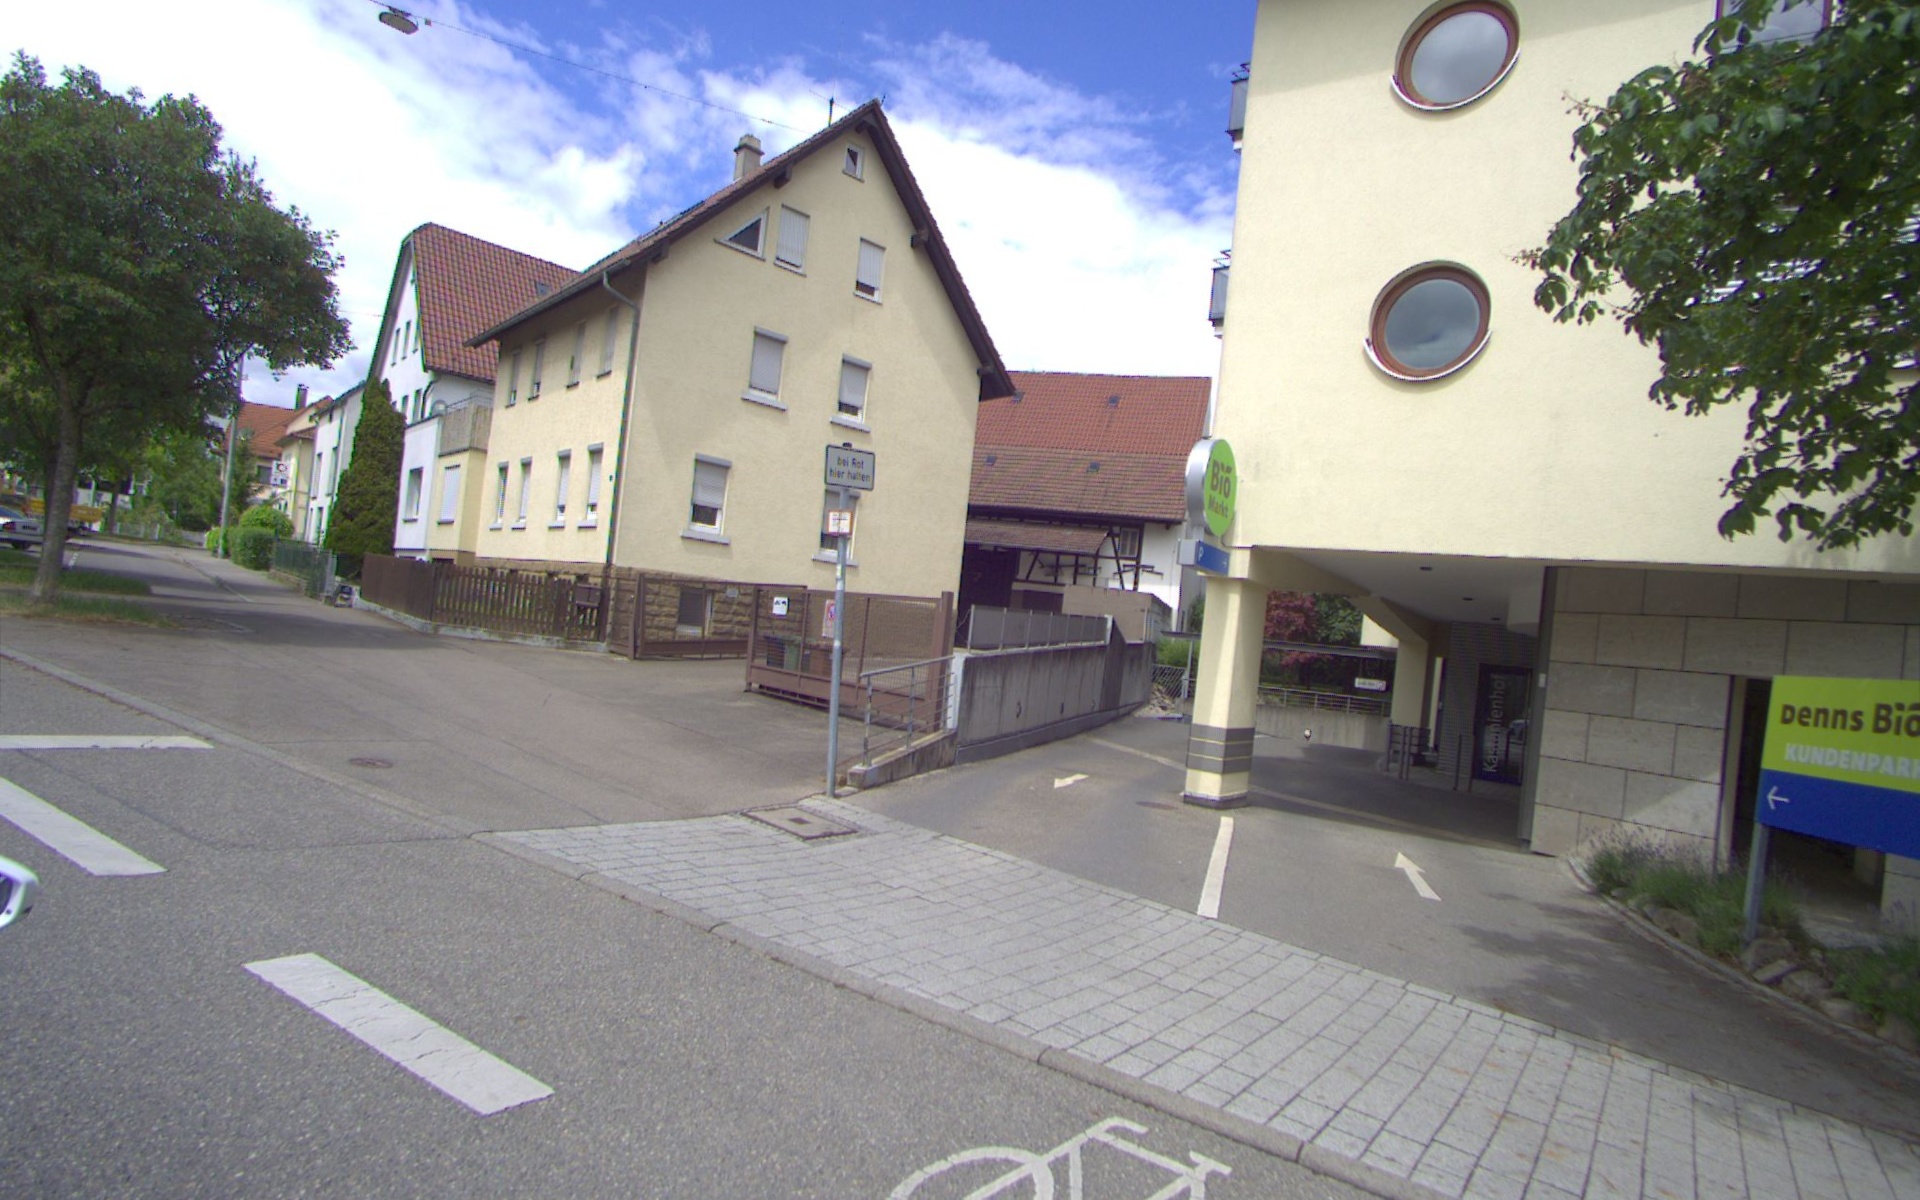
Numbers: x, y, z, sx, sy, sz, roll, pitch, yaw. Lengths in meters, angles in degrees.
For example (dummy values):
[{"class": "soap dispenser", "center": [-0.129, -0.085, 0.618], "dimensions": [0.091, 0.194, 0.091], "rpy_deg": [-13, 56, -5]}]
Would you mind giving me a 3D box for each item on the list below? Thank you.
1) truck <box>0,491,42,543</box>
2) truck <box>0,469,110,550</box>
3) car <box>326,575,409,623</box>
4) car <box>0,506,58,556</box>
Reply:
[{"class": "truck", "center": [-44.907, -4.094, 44.903], "dimensions": [5.577, 2.035, 2.002], "rpy_deg": [8, -4, -4]}, {"class": "truck", "center": [-45.128, -4.531, 47.740], "dimensions": [6.588, 3.040, 2.772], "rpy_deg": [8, -3, -5]}, {"class": "car", "center": [-17.781, -0.050, 30.112], "dimensions": [1.457, 1.136, 3.831], "rpy_deg": [11, -5, -39]}, {"class": "car", "center": [-34.236, -2.648, 34.576], "dimensions": [4.605, 1.468, 1.769], "rpy_deg": [8, -2, -2]}]
